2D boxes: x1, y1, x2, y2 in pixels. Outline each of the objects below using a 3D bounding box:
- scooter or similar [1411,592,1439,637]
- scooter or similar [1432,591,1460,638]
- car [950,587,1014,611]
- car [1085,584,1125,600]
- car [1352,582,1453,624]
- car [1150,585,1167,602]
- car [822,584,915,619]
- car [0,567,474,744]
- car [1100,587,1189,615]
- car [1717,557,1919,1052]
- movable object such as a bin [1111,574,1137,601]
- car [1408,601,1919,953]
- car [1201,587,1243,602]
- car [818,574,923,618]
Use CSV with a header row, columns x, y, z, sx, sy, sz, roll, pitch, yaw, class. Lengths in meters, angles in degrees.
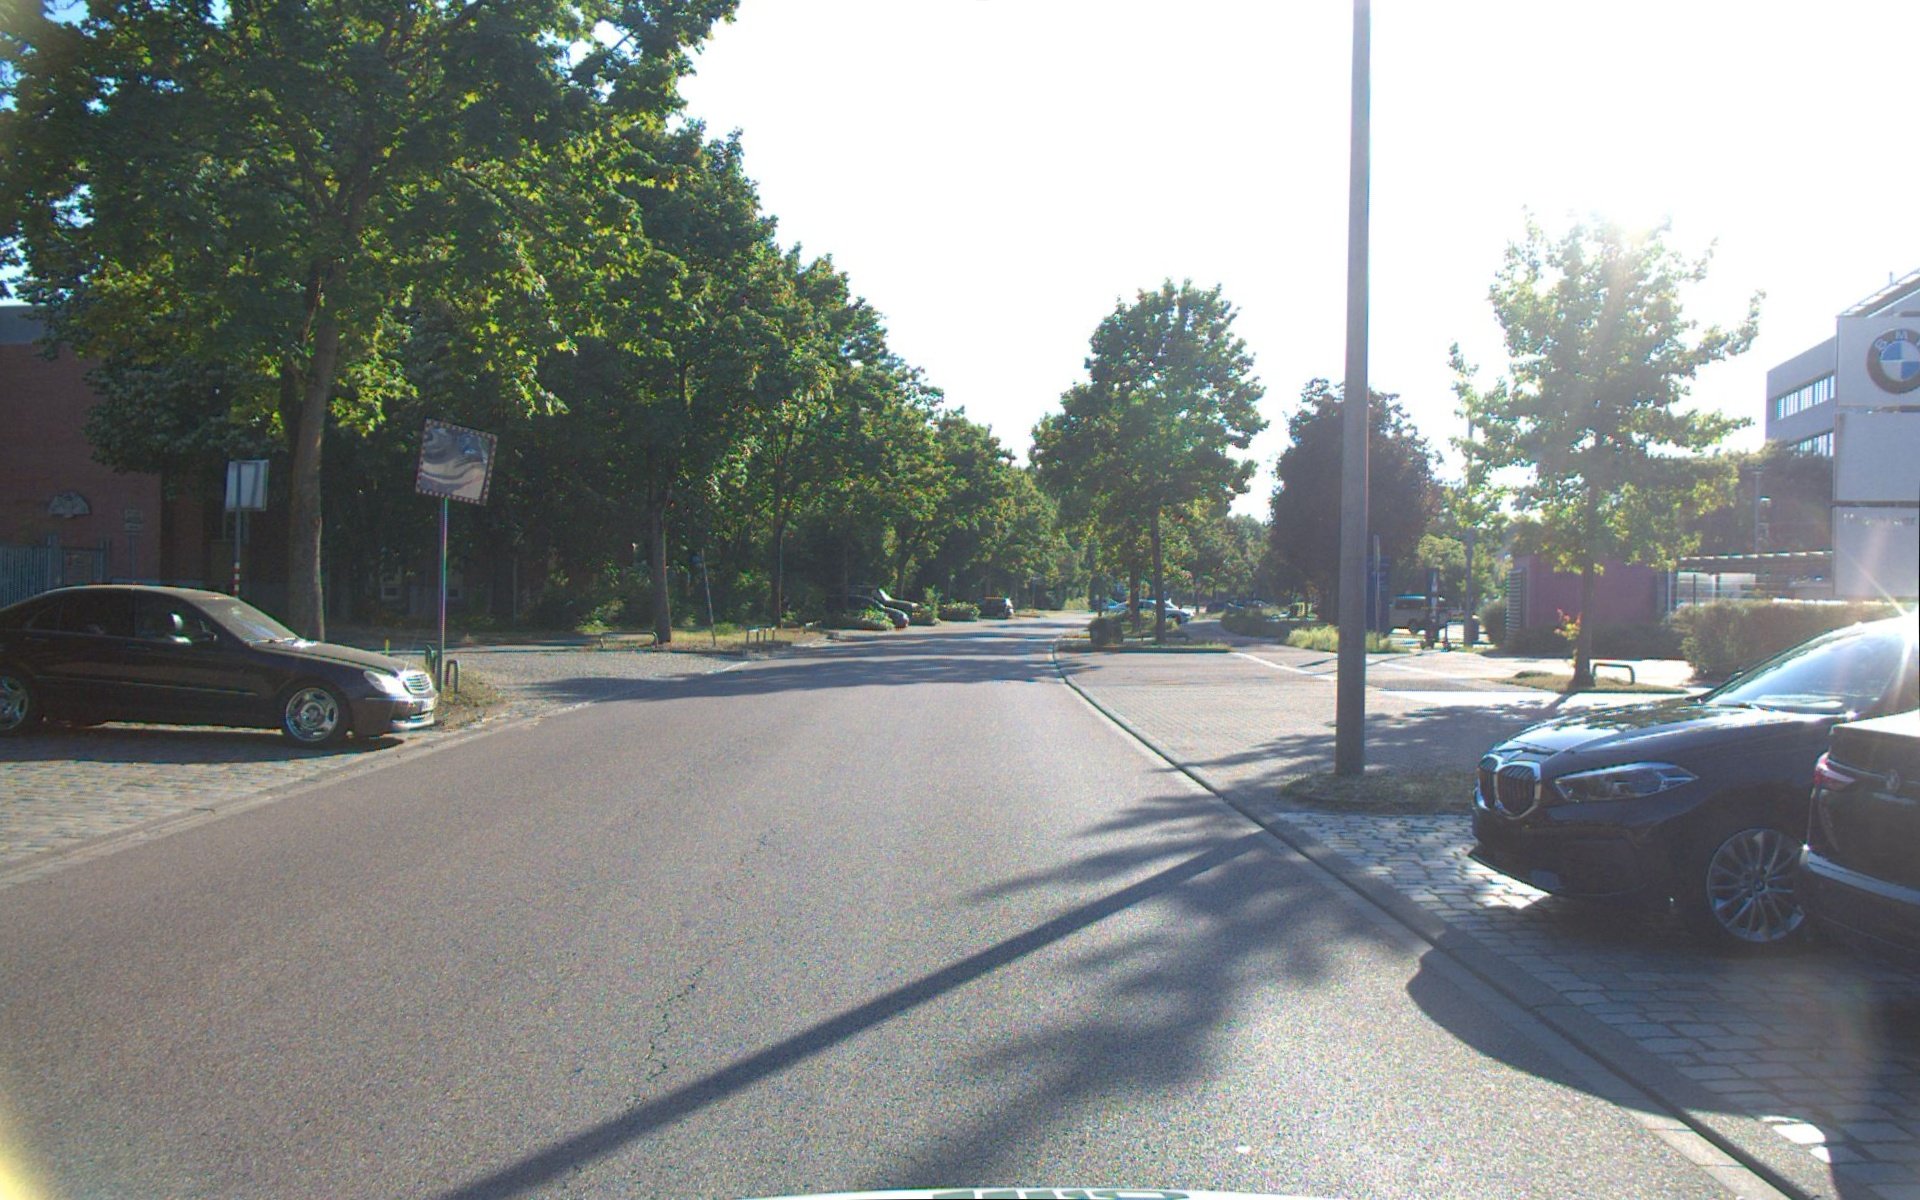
x,y,z,sx,sy,sz,roll,pitch,yaw,class
13.485,0.415,47.970,0.509,1.294,1.388,1,0,4,scooter or similar
13.635,0.405,46.413,0.509,1.294,1.201,1,0,4,scooter or similar
1.591,-0.066,118.351,4.266,1.504,2.002,3,1,9,car
16.713,-0.922,190.406,4.266,1.574,2.002,3,1,13,car
22.558,0.149,84.469,1.976,1.967,4.897,0,2,-33,car
30.144,-1.013,251.258,2.463,2.427,4.376,1,0,6,car
-4.286,0.081,77.436,4.123,1.557,1.707,1,0,5,car
-7.677,0.511,16.646,4.934,1.487,1.999,3,0,-2,car
10.705,0.049,96.107,5.065,1.601,2.159,1,0,7,car
5.256,0.672,5.671,4.389,1.577,2.033,1,0,-1,car
20.113,-1.572,202.667,2.778,3.122,4.931,3,1,8,movable object such as a bin
4.634,0.756,7.938,4.391,1.428,2.033,1,1,-2,car
31.214,-0.689,197.014,4.739,1.504,2.002,3,1,13,car
-4.389,-0.201,81.497,4.899,2.055,2.176,1,0,5,car
